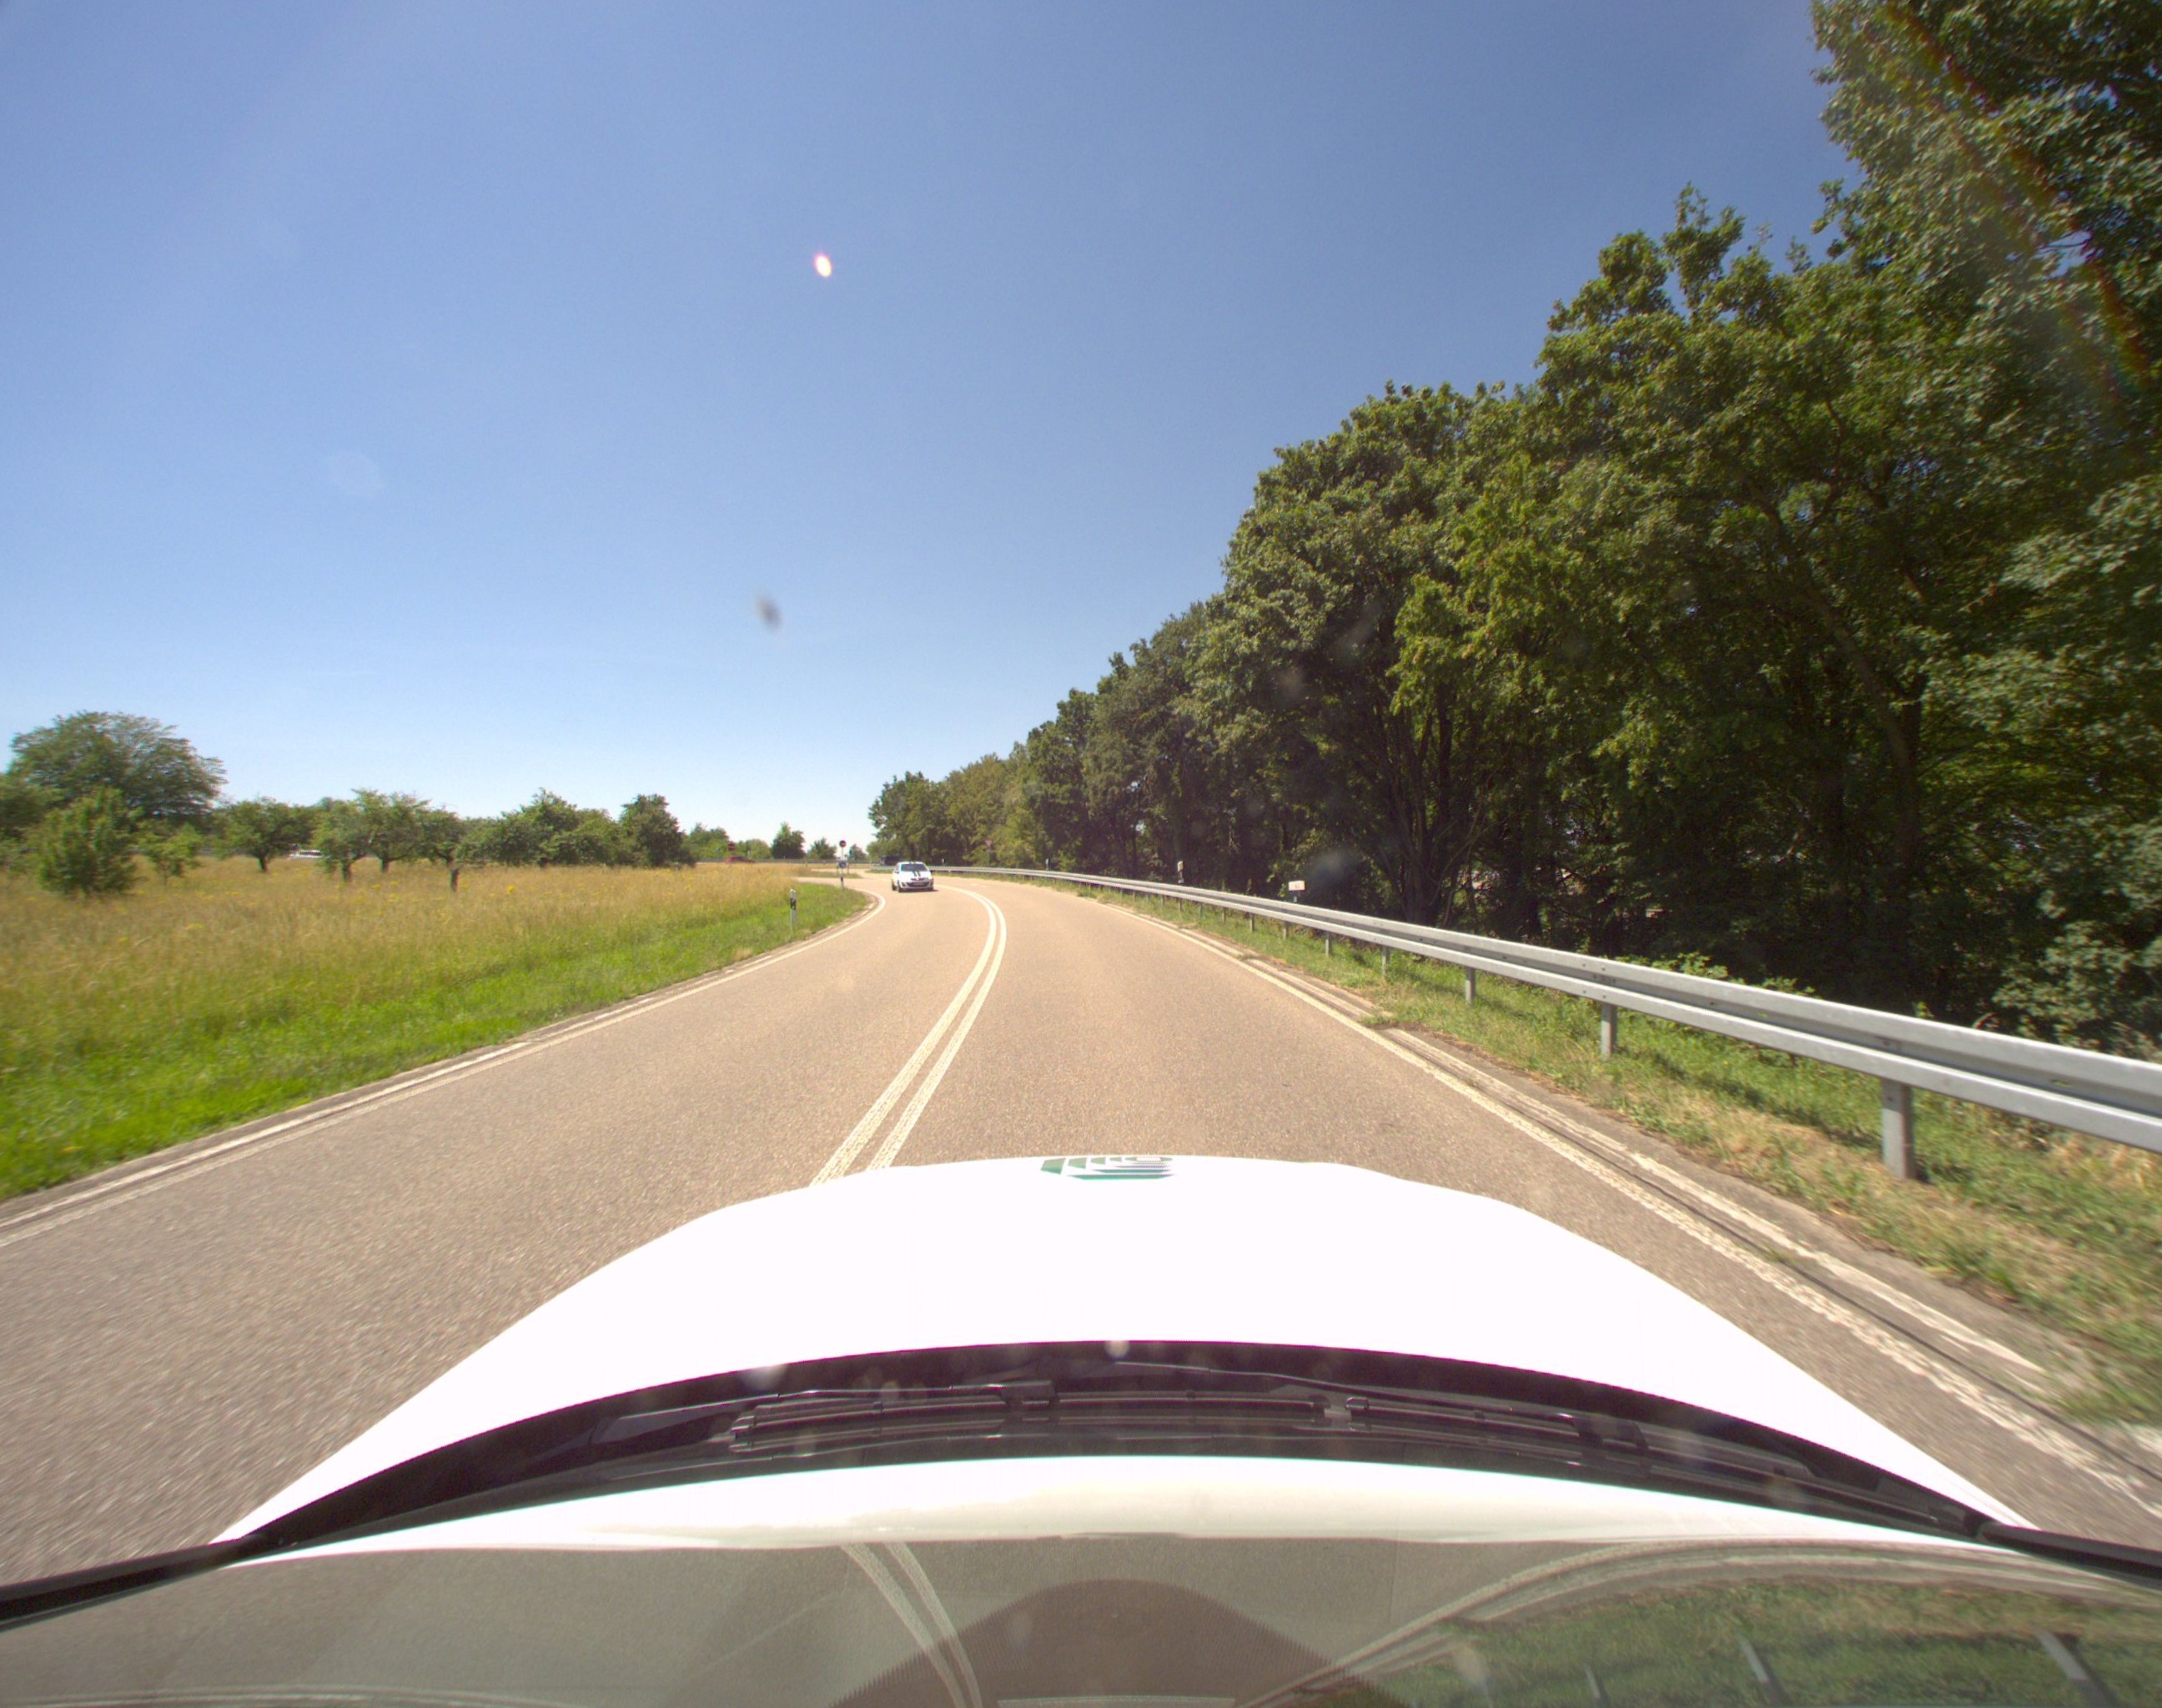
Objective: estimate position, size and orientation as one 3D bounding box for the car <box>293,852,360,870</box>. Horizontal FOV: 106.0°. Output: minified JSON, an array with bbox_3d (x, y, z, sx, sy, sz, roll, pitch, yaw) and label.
[{"bbox_3d":[-65.941,0.588,71.268,4.170,1.424,1.830,-2,1,-41],"label":"car"}]

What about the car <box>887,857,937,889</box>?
[{"bbox_3d":[-8.506,0.908,40.806,1.829,1.507,4.143,0,0,-21],"label":"car"}]
